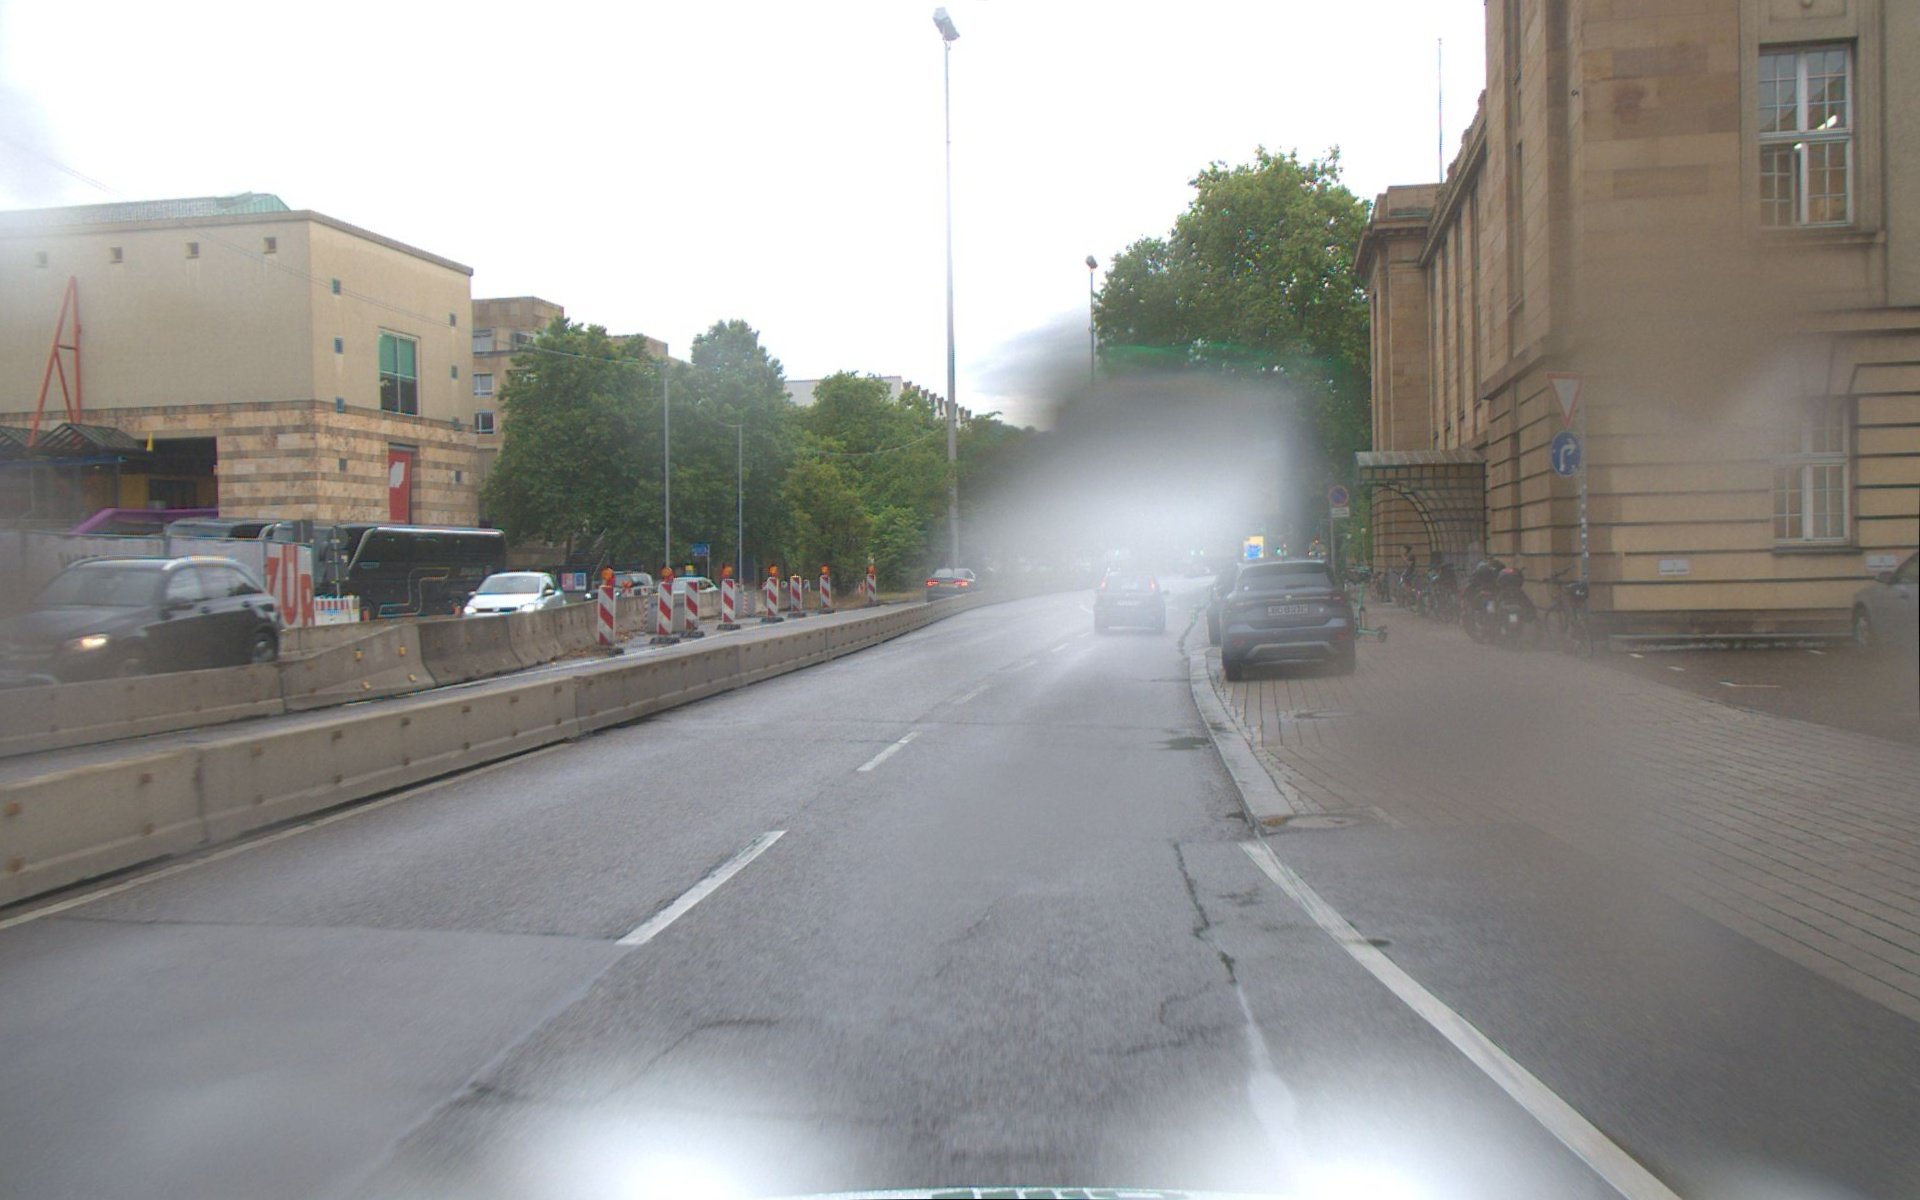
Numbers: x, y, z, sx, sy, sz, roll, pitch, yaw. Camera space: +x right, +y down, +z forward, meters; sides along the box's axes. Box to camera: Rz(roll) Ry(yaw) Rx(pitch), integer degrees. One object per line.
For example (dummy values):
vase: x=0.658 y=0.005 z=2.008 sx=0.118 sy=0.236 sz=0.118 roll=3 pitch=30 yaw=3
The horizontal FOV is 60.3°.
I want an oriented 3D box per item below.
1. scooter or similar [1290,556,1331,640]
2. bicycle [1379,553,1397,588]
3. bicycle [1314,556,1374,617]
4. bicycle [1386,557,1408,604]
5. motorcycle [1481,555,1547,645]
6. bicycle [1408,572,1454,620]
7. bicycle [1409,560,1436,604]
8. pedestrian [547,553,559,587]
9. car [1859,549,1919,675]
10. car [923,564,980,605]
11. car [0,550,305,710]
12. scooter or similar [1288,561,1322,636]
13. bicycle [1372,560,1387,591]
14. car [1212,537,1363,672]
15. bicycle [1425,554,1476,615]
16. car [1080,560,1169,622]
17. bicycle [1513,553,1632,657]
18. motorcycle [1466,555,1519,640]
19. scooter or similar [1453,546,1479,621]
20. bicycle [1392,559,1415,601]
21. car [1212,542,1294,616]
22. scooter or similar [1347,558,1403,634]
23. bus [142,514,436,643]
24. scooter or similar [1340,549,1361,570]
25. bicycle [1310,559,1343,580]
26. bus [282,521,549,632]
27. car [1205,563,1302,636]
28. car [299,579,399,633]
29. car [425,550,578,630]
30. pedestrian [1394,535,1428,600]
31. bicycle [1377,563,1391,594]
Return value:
scooter or similar: x=5.762 y=-0.044 z=27.231 sx=0.425 sy=1.342 sz=1.077 roll=-1 pitch=1 yaw=-1
bicycle: x=15.680 y=-1.082 z=60.632 sx=0.444 sy=1.272 sz=1.601 roll=1 pitch=2 yaw=8
bicycle: x=8.253 y=-0.292 z=35.604 sx=0.760 sy=1.240 sz=1.965 roll=-3 pitch=1 yaw=-1
bicycle: x=14.456 y=-0.657 z=54.724 sx=0.444 sy=1.542 sz=1.601 roll=1 pitch=2 yaw=6
motorcycle: x=8.397 y=-0.012 z=25.123 sx=0.789 sy=1.321 sz=1.800 roll=0 pitch=1 yaw=13
bicycle: x=10.871 y=-0.104 z=38.211 sx=0.697 sy=1.070 sz=1.742 roll=-1 pitch=1 yaw=5
bicycle: x=11.461 y=-0.458 z=41.009 sx=0.571 sy=1.056 sz=1.760 roll=0 pitch=1 yaw=13
pedestrian: x=-25.007 y=-1.840 z=101.625 sx=0.467 sy=2.049 sz=0.512 roll=-2 pitch=0 yaw=10
car: x=11.624 y=0.124 z=18.453 sx=1.488 sy=1.435 sz=4.132 roll=-1 pitch=1 yaw=9
car: x=-0.300 y=-0.628 z=64.843 sx=1.717 sy=1.477 sz=4.003 roll=-3 pitch=1 yaw=6
car: x=-9.413 y=0.241 z=18.769 sx=1.880 sy=1.556 sz=4.763 roll=-1 pitch=2 yaw=2
scooter or similar: x=5.883 y=-0.031 z=28.228 sx=0.424 sy=1.238 sz=1.123 roll=-3 pitch=0 yaw=7
bicycle: x=15.595 y=-0.910 z=61.543 sx=0.344 sy=1.099 sz=1.791 roll=-2 pitch=0 yaw=9
car: x=4.487 y=-0.009 z=23.118 sx=1.831 sy=1.647 sz=4.409 roll=-2 pitch=1 yaw=9
bicycle: x=10.755 y=-0.347 z=36.306 sx=0.715 sy=1.290 sz=1.760 roll=-1 pitch=1 yaw=5
car: x=3.937 y=-0.223 z=40.096 sx=1.806 sy=1.441 sz=3.839 roll=0 pitch=0 yaw=0
bicycle: x=8.265 y=0.049 z=22.415 sx=1.078 sy=1.340 sz=1.860 roll=-1 pitch=1 yaw=6
motorcycle: x=8.775 y=-0.063 z=27.309 sx=0.653 sy=1.349 sz=2.137 roll=0 pitch=1 yaw=13
scooter or similar: x=9.957 y=-0.323 z=32.590 sx=0.404 sy=1.442 sz=1.269 roll=0 pitch=1 yaw=13
bicycle: x=13.479 y=-0.616 z=50.305 sx=0.454 sy=1.236 sz=1.693 roll=-1 pitch=1 yaw=8
car: x=7.678 y=-0.553 z=43.048 sx=1.951 sy=1.812 sz=4.192 roll=0 pitch=1 yaw=12
scooter or similar: x=7.347 y=-0.077 z=29.306 sx=0.426 sy=1.315 sz=1.253 roll=-1 pitch=1 yaw=-14
bus: x=-24.804 y=-0.949 z=62.512 sx=3.052 sy=4.325 sz=13.508 roll=1 pitch=2 yaw=13
scooter or similar: x=24.318 y=-2.495 z=102.897 sx=0.534 sy=1.277 sz=1.428 roll=-2 pitch=1 yaw=-21
bicycle: x=18.759 y=-1.547 z=84.600 sx=1.606 sy=1.038 sz=0.575 roll=1 pitch=1 yaw=15
bus: x=-20.889 y=-1.048 z=65.123 sx=2.744 sy=3.877 sz=14.611 roll=1 pitch=2 yaw=13
car: x=6.086 y=-0.036 z=34.062 sx=1.721 sy=1.439 sz=3.155 roll=0 pitch=1 yaw=14
car: x=-19.140 y=0.164 z=51.909 sx=1.558 sy=1.526 sz=3.217 roll=-4 pitch=1 yaw=7
car: x=-9.642 y=-0.264 z=35.085 sx=1.952 sy=1.556 sz=4.002 roll=-1 pitch=2 yaw=2
pedestrian: x=12.937 y=-0.922 z=47.445 sx=0.778 sy=1.808 sz=0.642 roll=-4 pitch=0 yaw=10
bicycle: x=15.361 y=-0.778 z=59.942 sx=0.344 sy=1.099 sz=1.791 roll=0 pitch=1 yaw=9
